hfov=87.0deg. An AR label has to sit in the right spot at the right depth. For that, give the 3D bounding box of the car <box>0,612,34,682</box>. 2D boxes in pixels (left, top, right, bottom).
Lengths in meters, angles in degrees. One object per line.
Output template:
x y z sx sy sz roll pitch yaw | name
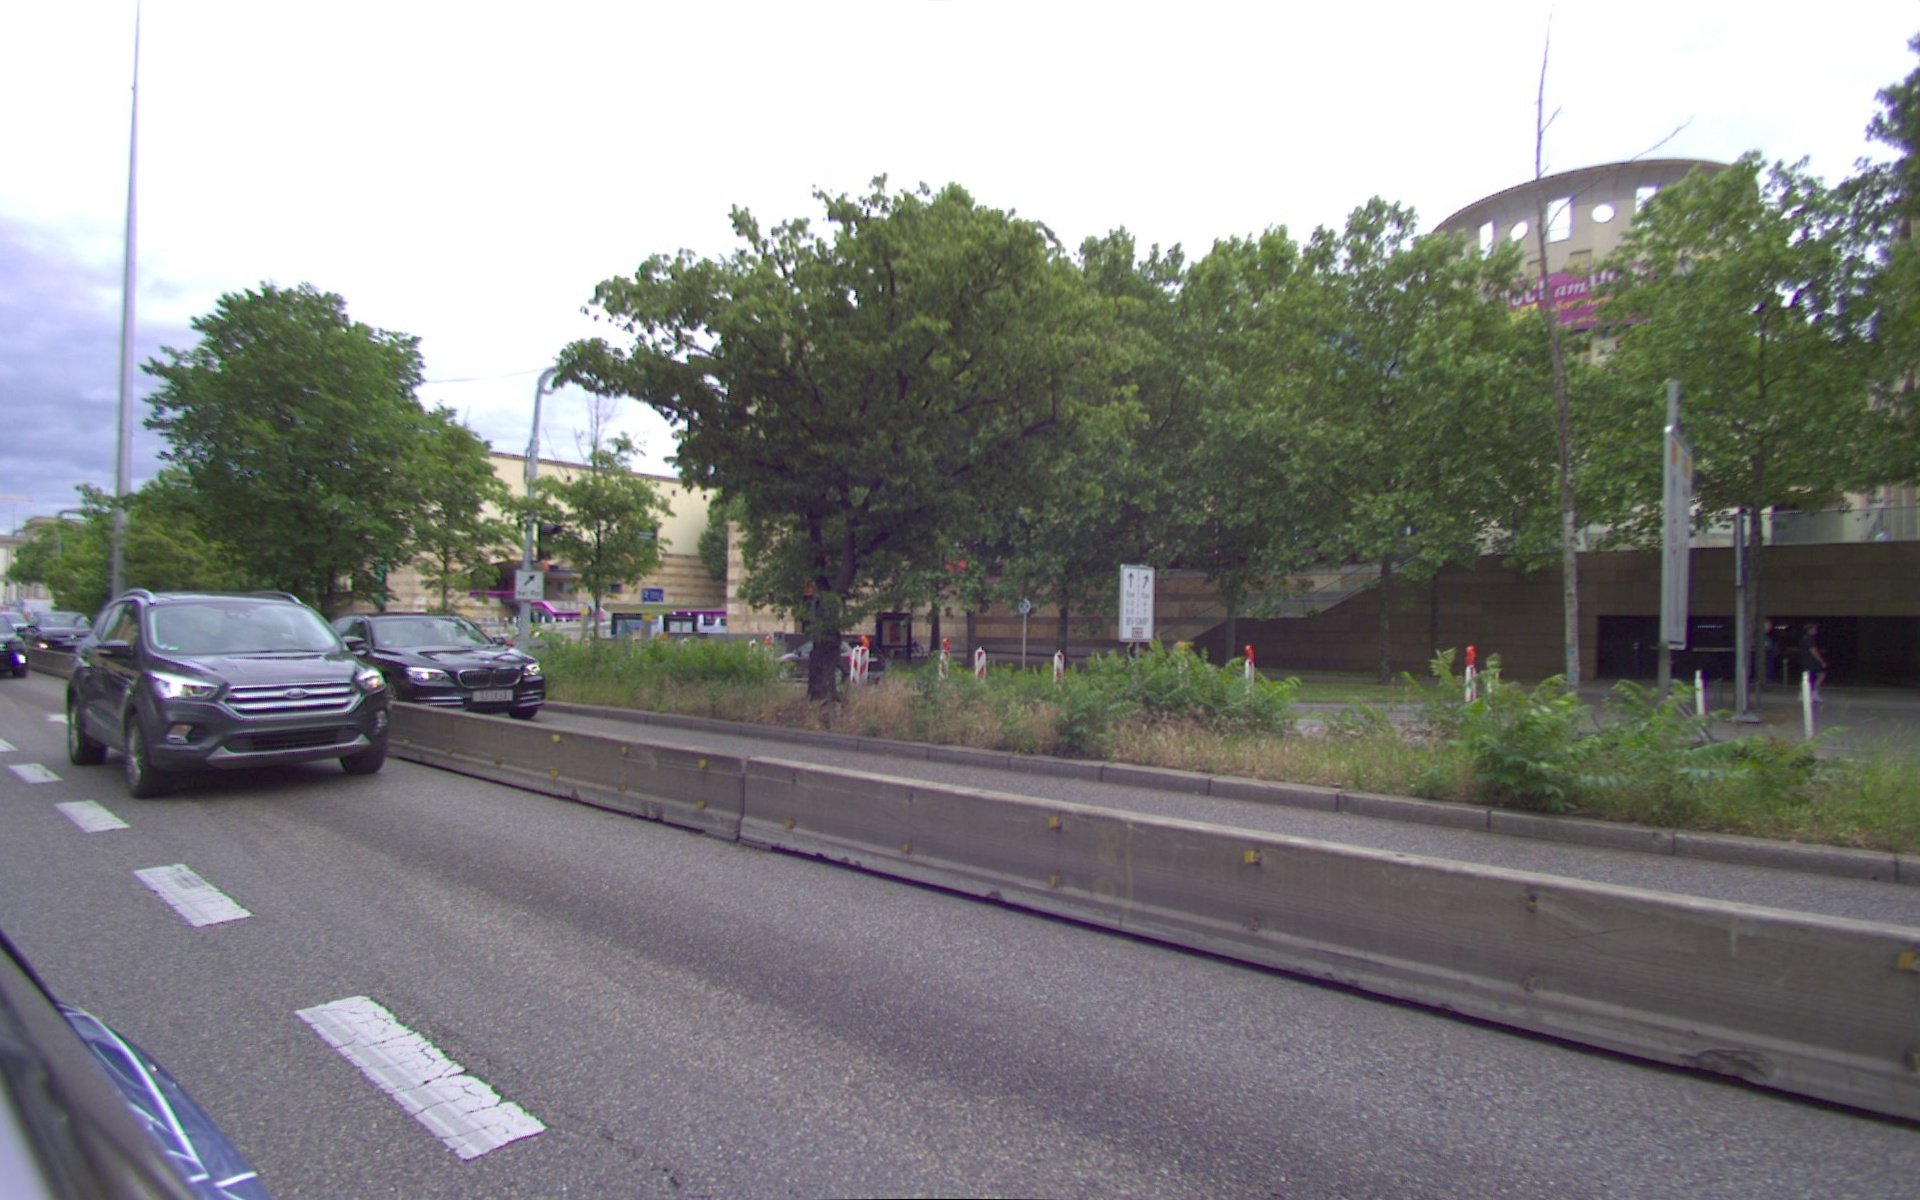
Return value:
-22.952 1.057 23.492 4.151 1.527 1.744 0 -1 42 | car

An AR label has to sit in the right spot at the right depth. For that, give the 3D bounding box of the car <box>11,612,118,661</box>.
-29.667 1.182 33.494 4.806 1.494 1.973 -1 -2 40 | car

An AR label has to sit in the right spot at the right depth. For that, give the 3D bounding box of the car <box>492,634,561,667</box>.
-19.549 2.258 45.588 3.735 1.298 1.338 0 0 41 | car

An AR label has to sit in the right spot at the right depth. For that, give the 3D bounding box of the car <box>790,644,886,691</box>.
-3.935 2.130 32.330 3.054 1.298 1.338 0 0 40 | car

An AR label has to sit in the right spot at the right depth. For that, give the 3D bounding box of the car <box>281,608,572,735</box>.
-7.606 0.901 14.209 4.806 1.494 1.973 -1 -2 40 | car

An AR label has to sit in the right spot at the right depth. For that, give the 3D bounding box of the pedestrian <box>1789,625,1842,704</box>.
20.926 1.571 24.766 0.987 1.869 0.714 0 -4 41 | pedestrian

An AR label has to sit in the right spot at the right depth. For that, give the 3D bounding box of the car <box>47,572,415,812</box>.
-7.040 0.717 9.567 4.657 1.728 1.873 -2 -2 42 | car
